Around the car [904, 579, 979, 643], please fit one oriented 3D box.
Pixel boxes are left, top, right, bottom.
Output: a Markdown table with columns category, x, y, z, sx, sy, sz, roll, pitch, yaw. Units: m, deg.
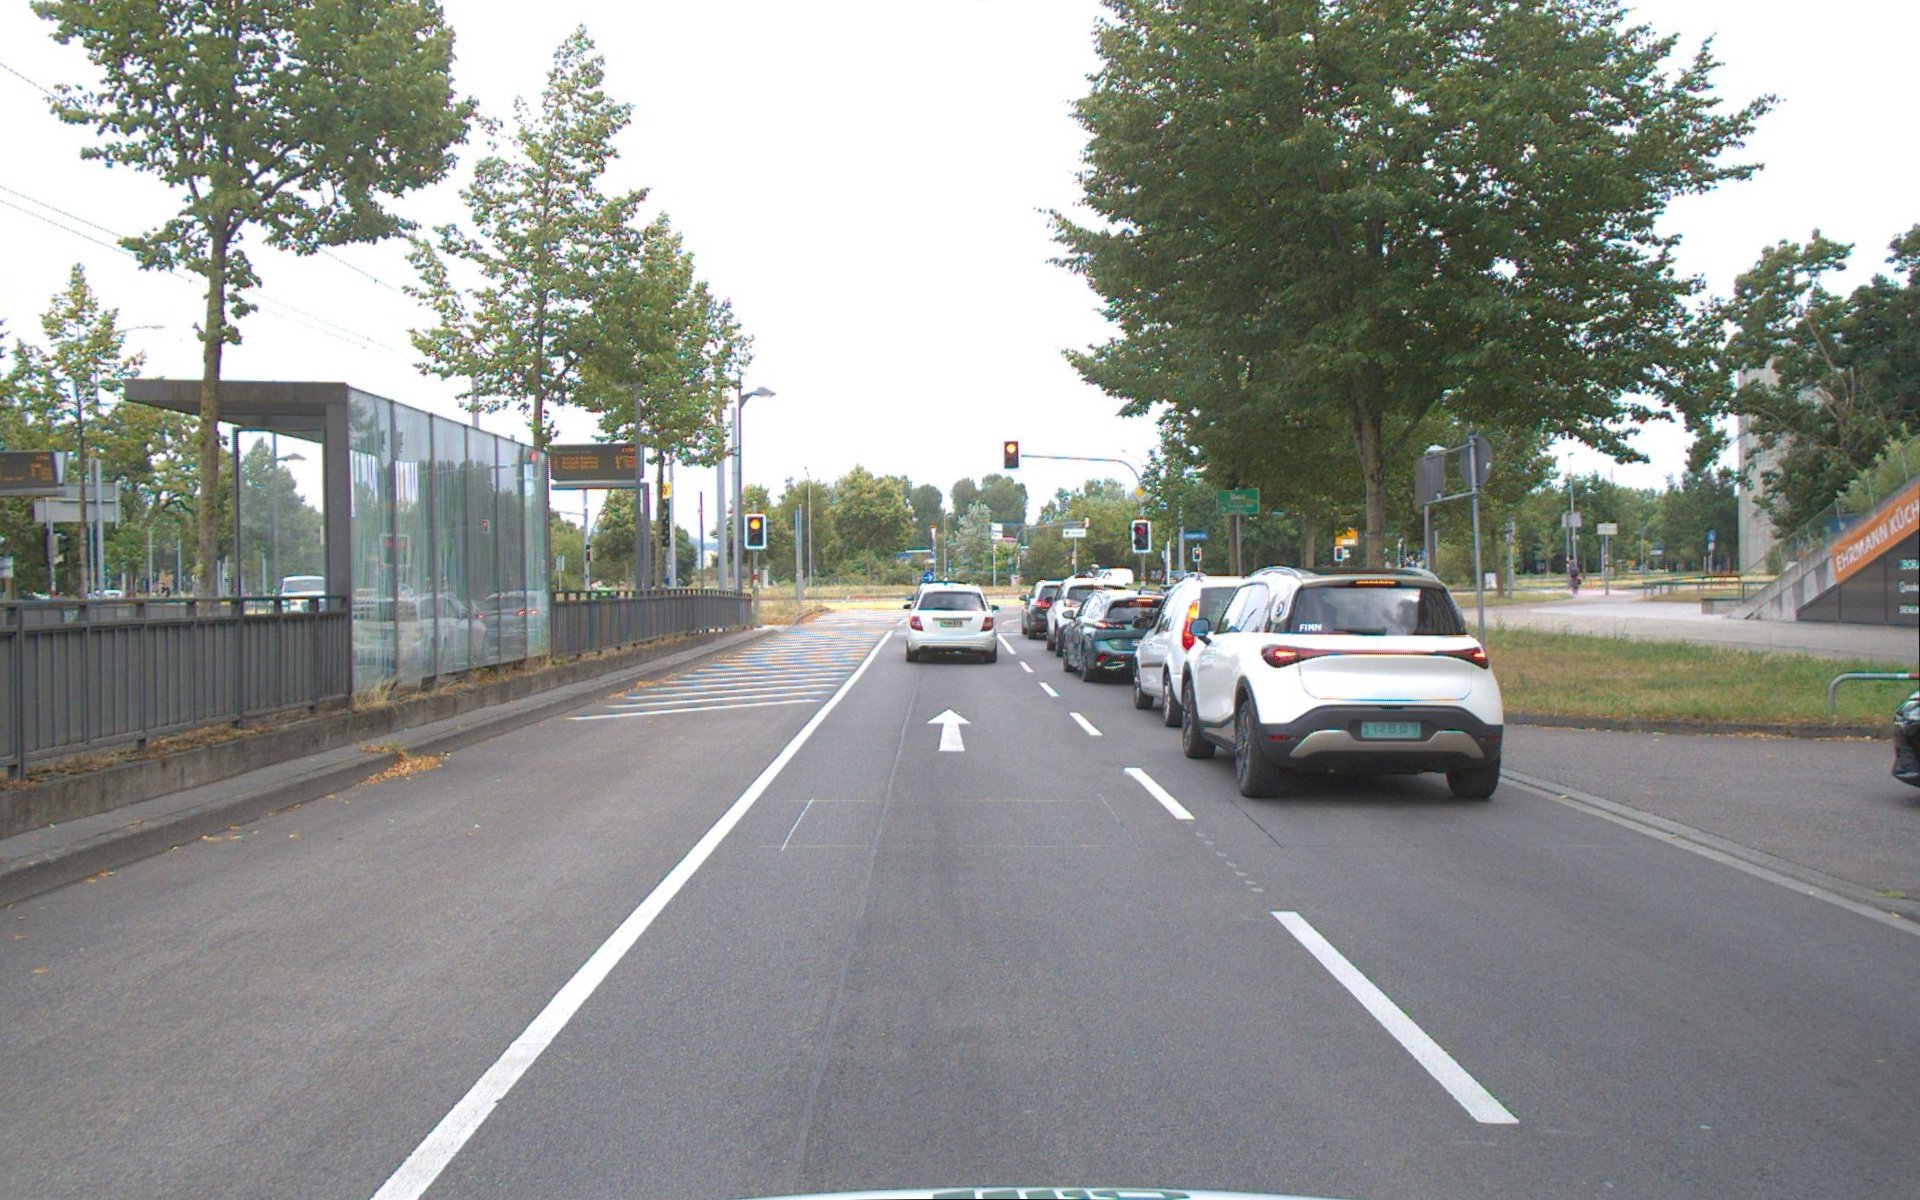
| category | x | y | z | sx | sy | sz | roll | pitch | yaw |
| --- | --- | --- | --- | --- | --- | --- | --- | --- | --- |
| car | -0.499 | 0.233 | 40.586 | 1.738 | 1.474 | 3.909 | 0 | 1 | -2 |

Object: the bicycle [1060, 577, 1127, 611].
| category | x | y | z | sx | sy | sz | roll | pitch | yaw |
| --- | --- | --- | --- | --- | --- | --- | --- | --- | --- |
| bicycle | 3.951 | -0.181 | 49.008 | 1.895 | 1.001 | 0.564 | -1 | 1 | -2 |

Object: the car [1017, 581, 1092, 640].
| category | x | y | z | sx | sy | sz | roll | pitch | yaw |
| --- | --- | --- | --- | --- | --- | --- | --- | --- | --- |
| car | 2.429 | 0.241 | 43.456 | 1.592 | 1.474 | 3.909 | 0 | 1 | -2 |

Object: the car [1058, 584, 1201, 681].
| category | x | y | z | sx | sy | sz | roll | pitch | yaw |
| --- | --- | --- | --- | --- | --- | --- | --- | --- | --- |
| car | 2.723 | 0.472 | 27.497 | 1.751 | 1.457 | 4.309 | 0 | 1 | -3 |

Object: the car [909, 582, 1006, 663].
| category | x | y | z | sx | sy | sz | roll | pitch | yaw |
| --- | --- | --- | --- | --- | --- | --- | --- | --- | --- |
| car | -0.103 | 0.392 | 32.380 | 1.738 | 1.474 | 3.909 | 0 | 1 | -2 |

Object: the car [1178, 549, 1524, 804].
| category | x | y | z | sx | sy | sz | roll | pitch | yaw |
| --- | --- | --- | --- | --- | --- | --- | --- | --- | --- |
| car | 2.896 | 0.487 | 13.137 | 1.742 | 1.685 | 4.023 | 1 | 1 | 0 |

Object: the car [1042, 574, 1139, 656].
| category | x | y | z | sx | sy | sz | roll | pitch | yaw |
| --- | --- | --- | --- | --- | --- | --- | --- | --- | --- |
| car | 2.751 | 0.282 | 35.570 | 1.751 | 1.653 | 3.910 | -1 | 1 | 0 |

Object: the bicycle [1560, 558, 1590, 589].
| category | x | y | z | sx | sy | sz | roll | pitch | yaw |
| --- | --- | --- | --- | --- | --- | --- | --- | --- | --- |
| bicycle | 31.349 | -1.347 | 84.369 | 0.691 | 1.532 | 2.006 | 1 | 0 | -2 |

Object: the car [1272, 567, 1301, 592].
| category | x | y | z | sx | sy | sz | roll | pitch | yaw |
| --- | --- | --- | --- | --- | --- | --- | --- | --- | --- |
| car | 21.951 | -1.385 | 111.436 | 1.745 | 1.664 | 4.406 | -1 | 1 | 9 |

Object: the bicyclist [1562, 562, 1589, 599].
| category | x | y | z | sx | sy | sz | roll | pitch | yaw |
| --- | --- | --- | --- | --- | --- | --- | --- | --- | --- |
| bicyclist | 31.342 | -1.003 | 84.223 | 0.849 | 1.820 | 1.174 | -3 | 0 | -2 |

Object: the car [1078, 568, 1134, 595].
| category | x | y | z | sx | sy | sz | roll | pitch | yaw |
| --- | --- | --- | --- | --- | --- | --- | --- | --- | --- |
| car | 11.846 | -1.500 | 133.984 | 1.965 | 2.049 | 4.968 | 0 | 1 | 43 |

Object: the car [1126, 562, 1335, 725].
| category | x | y | z | sx | sy | sz | roll | pitch | yaw |
| --- | --- | --- | --- | --- | --- | --- | --- | --- | --- |
| car | 3.043 | 0.434 | 19.373 | 1.742 | 1.685 | 4.023 | -1 | 1 | 0 |

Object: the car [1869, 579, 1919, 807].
| category | x | y | z | sx | sy | sz | roll | pitch | yaw |
| --- | --- | --- | --- | --- | --- | --- | --- | --- | --- |
| car | 8.314 | 0.601 | 9.793 | 1.925 | 1.501 | 4.810 | -1 | 1 | -35 |

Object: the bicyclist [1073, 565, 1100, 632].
| category | x | y | z | sx | sy | sz | roll | pitch | yaw |
| --- | --- | --- | --- | --- | --- | --- | --- | --- | --- |
| bicyclist | 3.730 | -0.046 | 48.882 | 0.714 | 1.918 | 0.734 | -1 | 3 | -2 |

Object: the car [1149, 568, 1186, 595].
| category | x | y | z | sx | sy | sz | roll | pitch | yaw |
| --- | --- | --- | --- | --- | --- | --- | --- | --- | --- |
| car | 14.685 | -1.272 | 117.210 | 1.953 | 1.822 | 3.999 | 1 | 0 | -1 |

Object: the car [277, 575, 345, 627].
| category | x | y | z | sx | sy | sz | roll | pitch | yaw |
| --- | --- | --- | --- | --- | --- | --- | --- | --- | --- |
| car | -22.064 | 0.007 | 56.360 | 1.964 | 1.646 | 4.360 | -1 | 1 | -19 |
